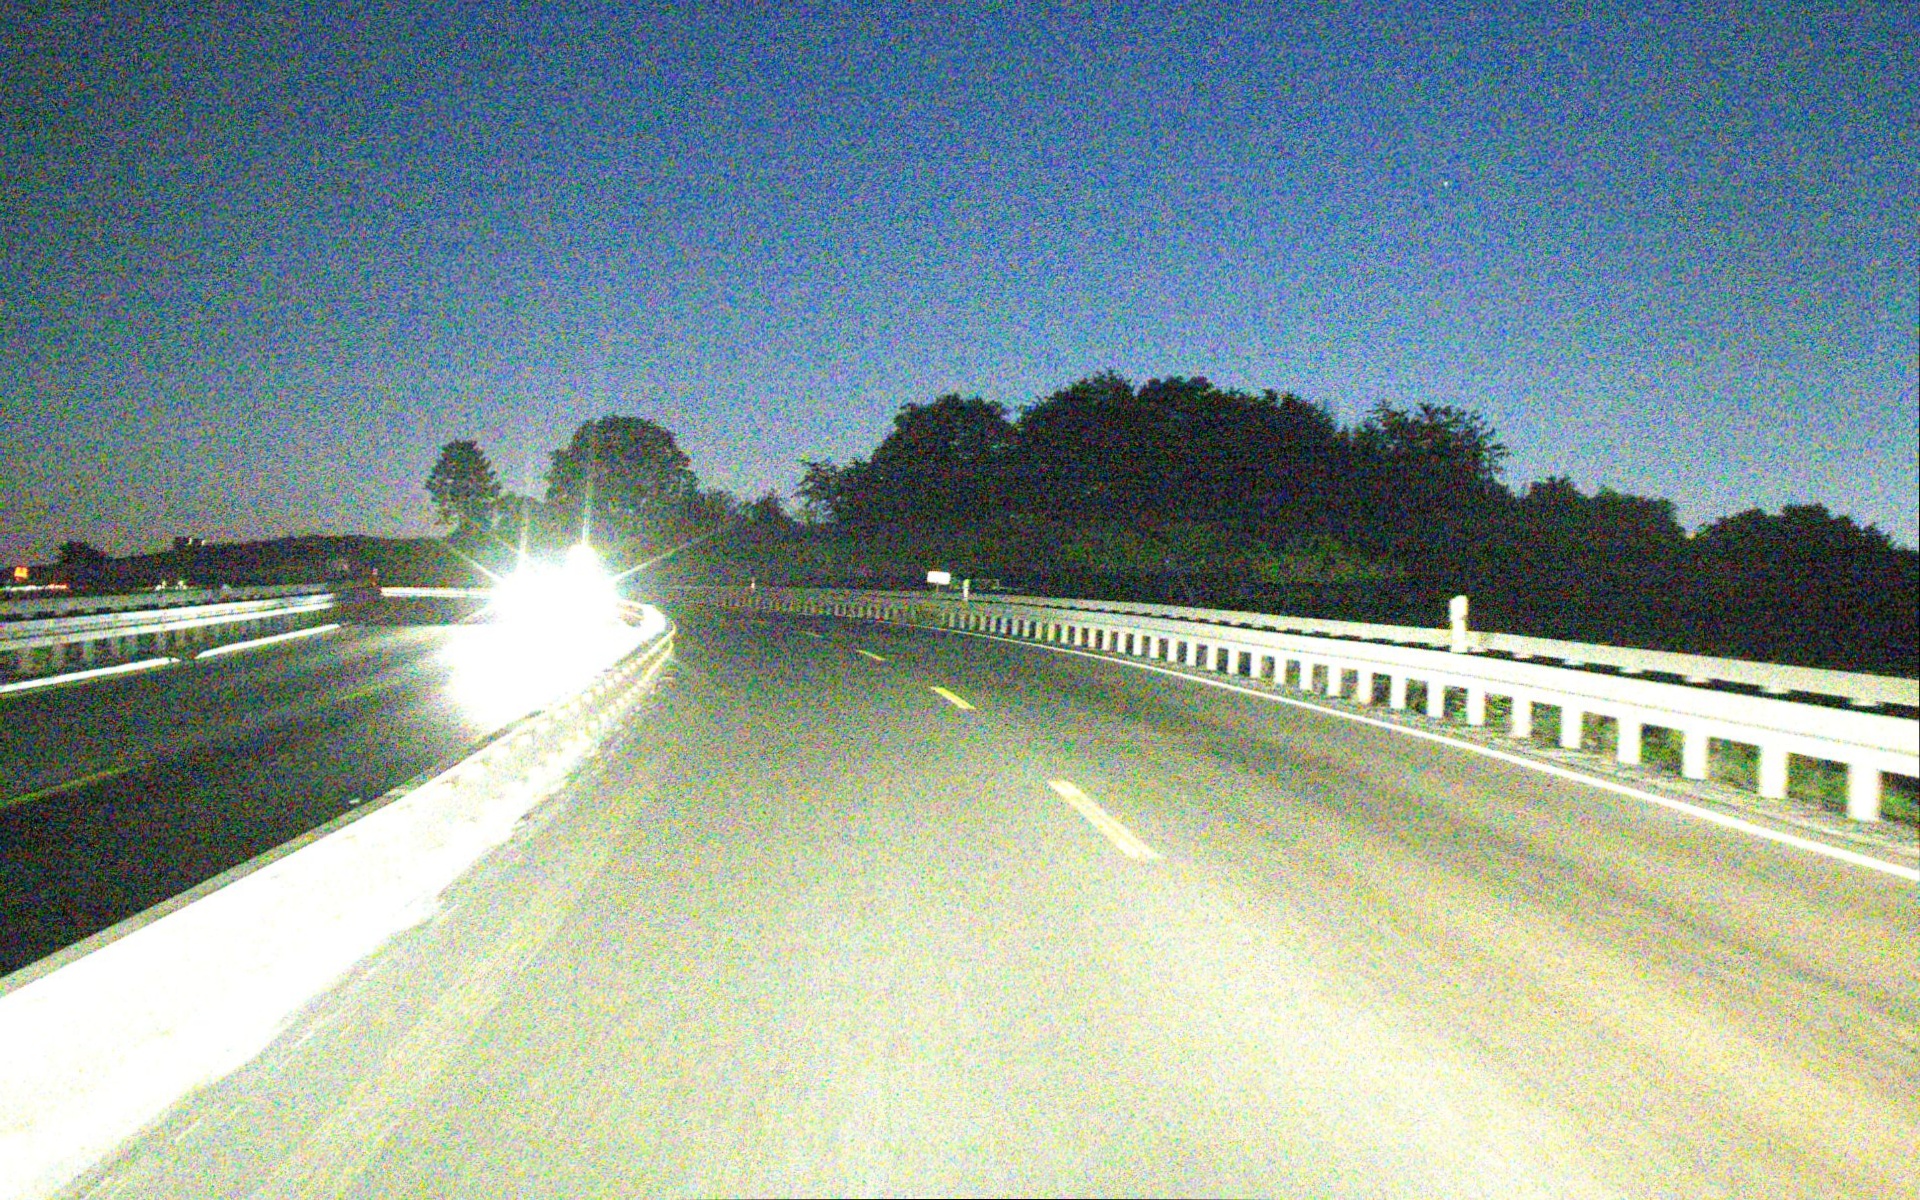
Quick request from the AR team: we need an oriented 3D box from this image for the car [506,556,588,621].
[{"bbox_3d":[-9.964,-0.253,82.776,1.818,1.511,4.524,0,0,-8],"label":"car"}]
